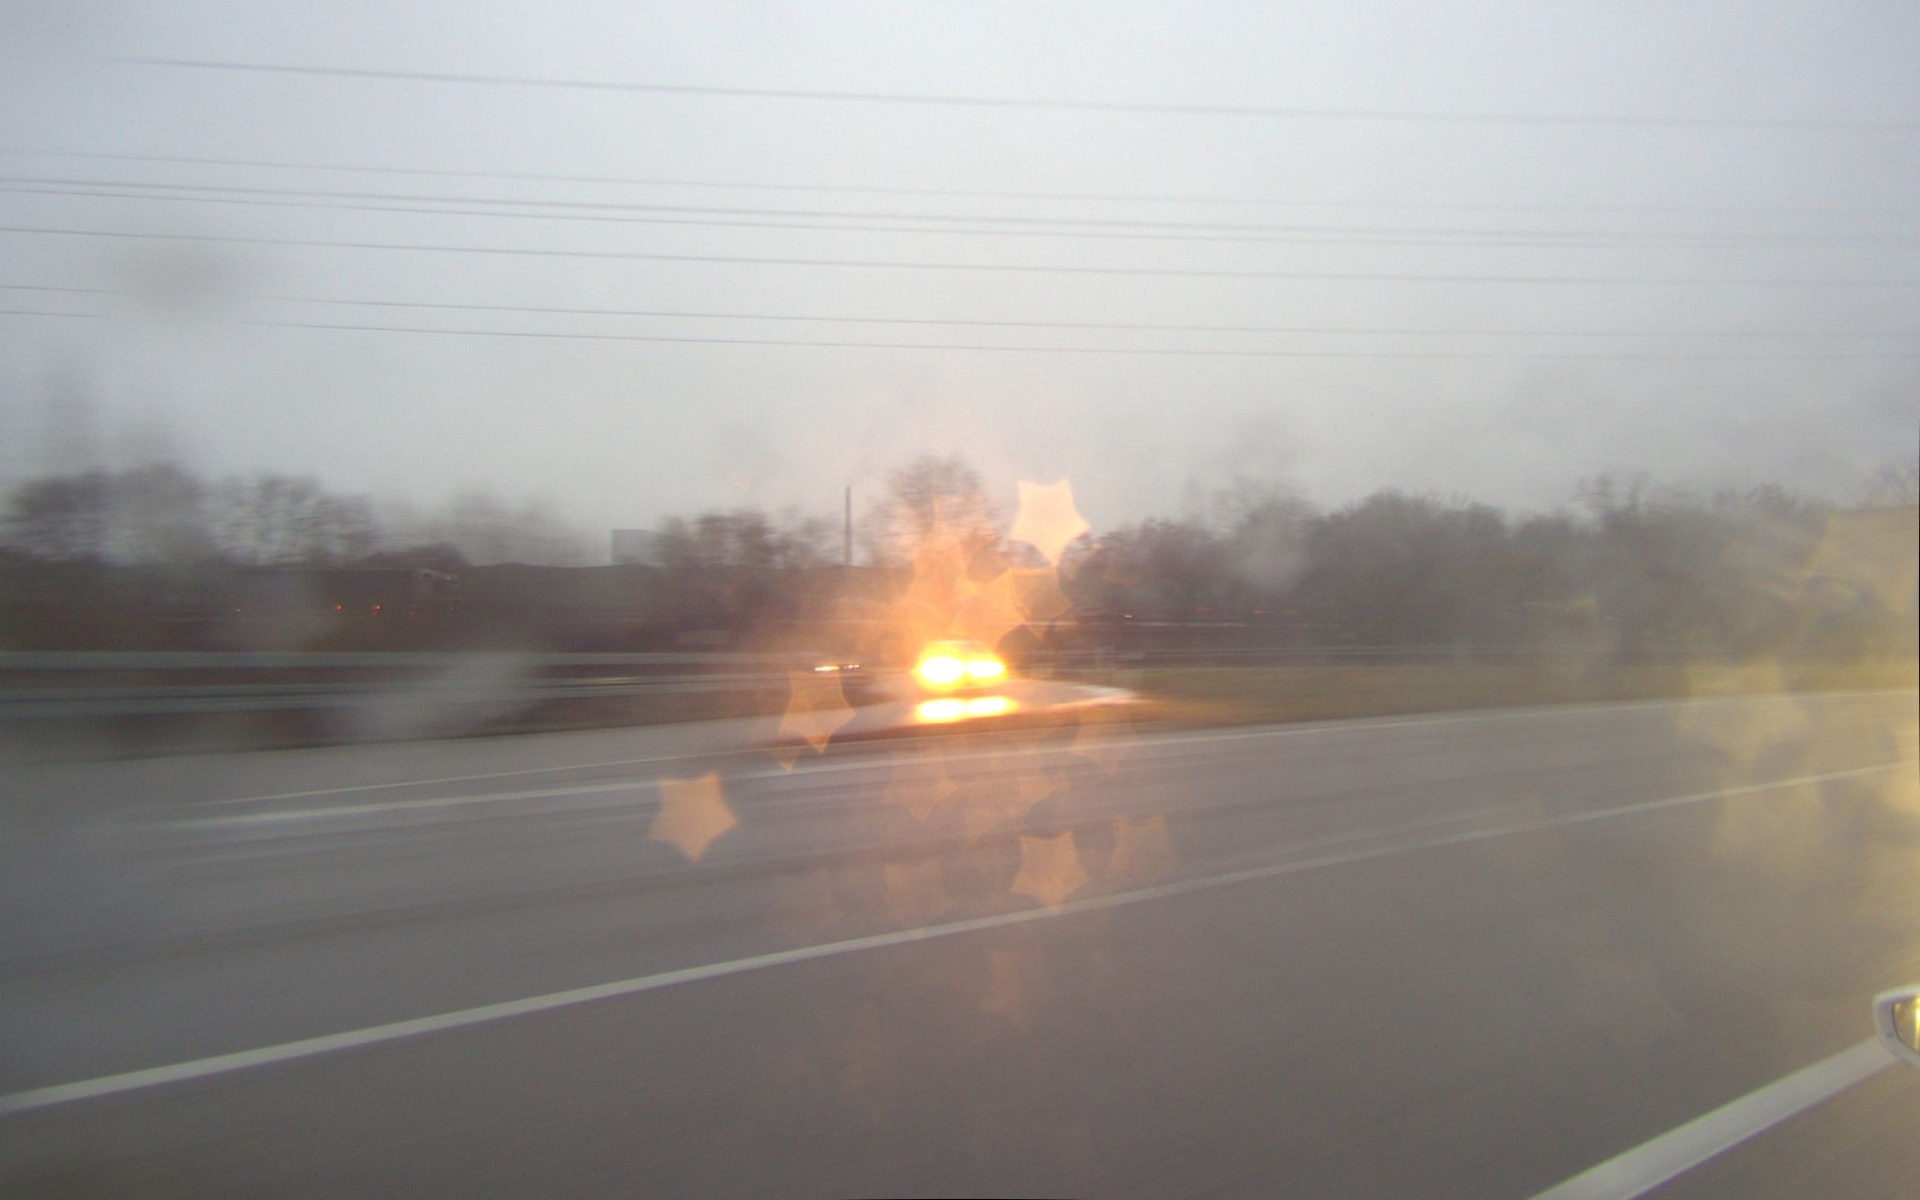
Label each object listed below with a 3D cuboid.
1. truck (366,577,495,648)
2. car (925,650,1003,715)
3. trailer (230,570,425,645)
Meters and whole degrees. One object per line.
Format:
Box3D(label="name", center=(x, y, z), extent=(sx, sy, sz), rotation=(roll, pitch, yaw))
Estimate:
Box3D(label="truck", center=(-42.263, 0.977, 80.421), extent=(8.356, 5.198, 3.284), rotation=(3, 0, -4))
Box3D(label="car", center=(0.053, 2.396, 29.969), extent=(1.883, 1.654, 3.856), rotation=(-2, -1, -6))
Box3D(label="trailer", center=(-50.131, 0.585, 79.914), extent=(12.976, 5.171, 3.311), rotation=(3, 0, -3))
